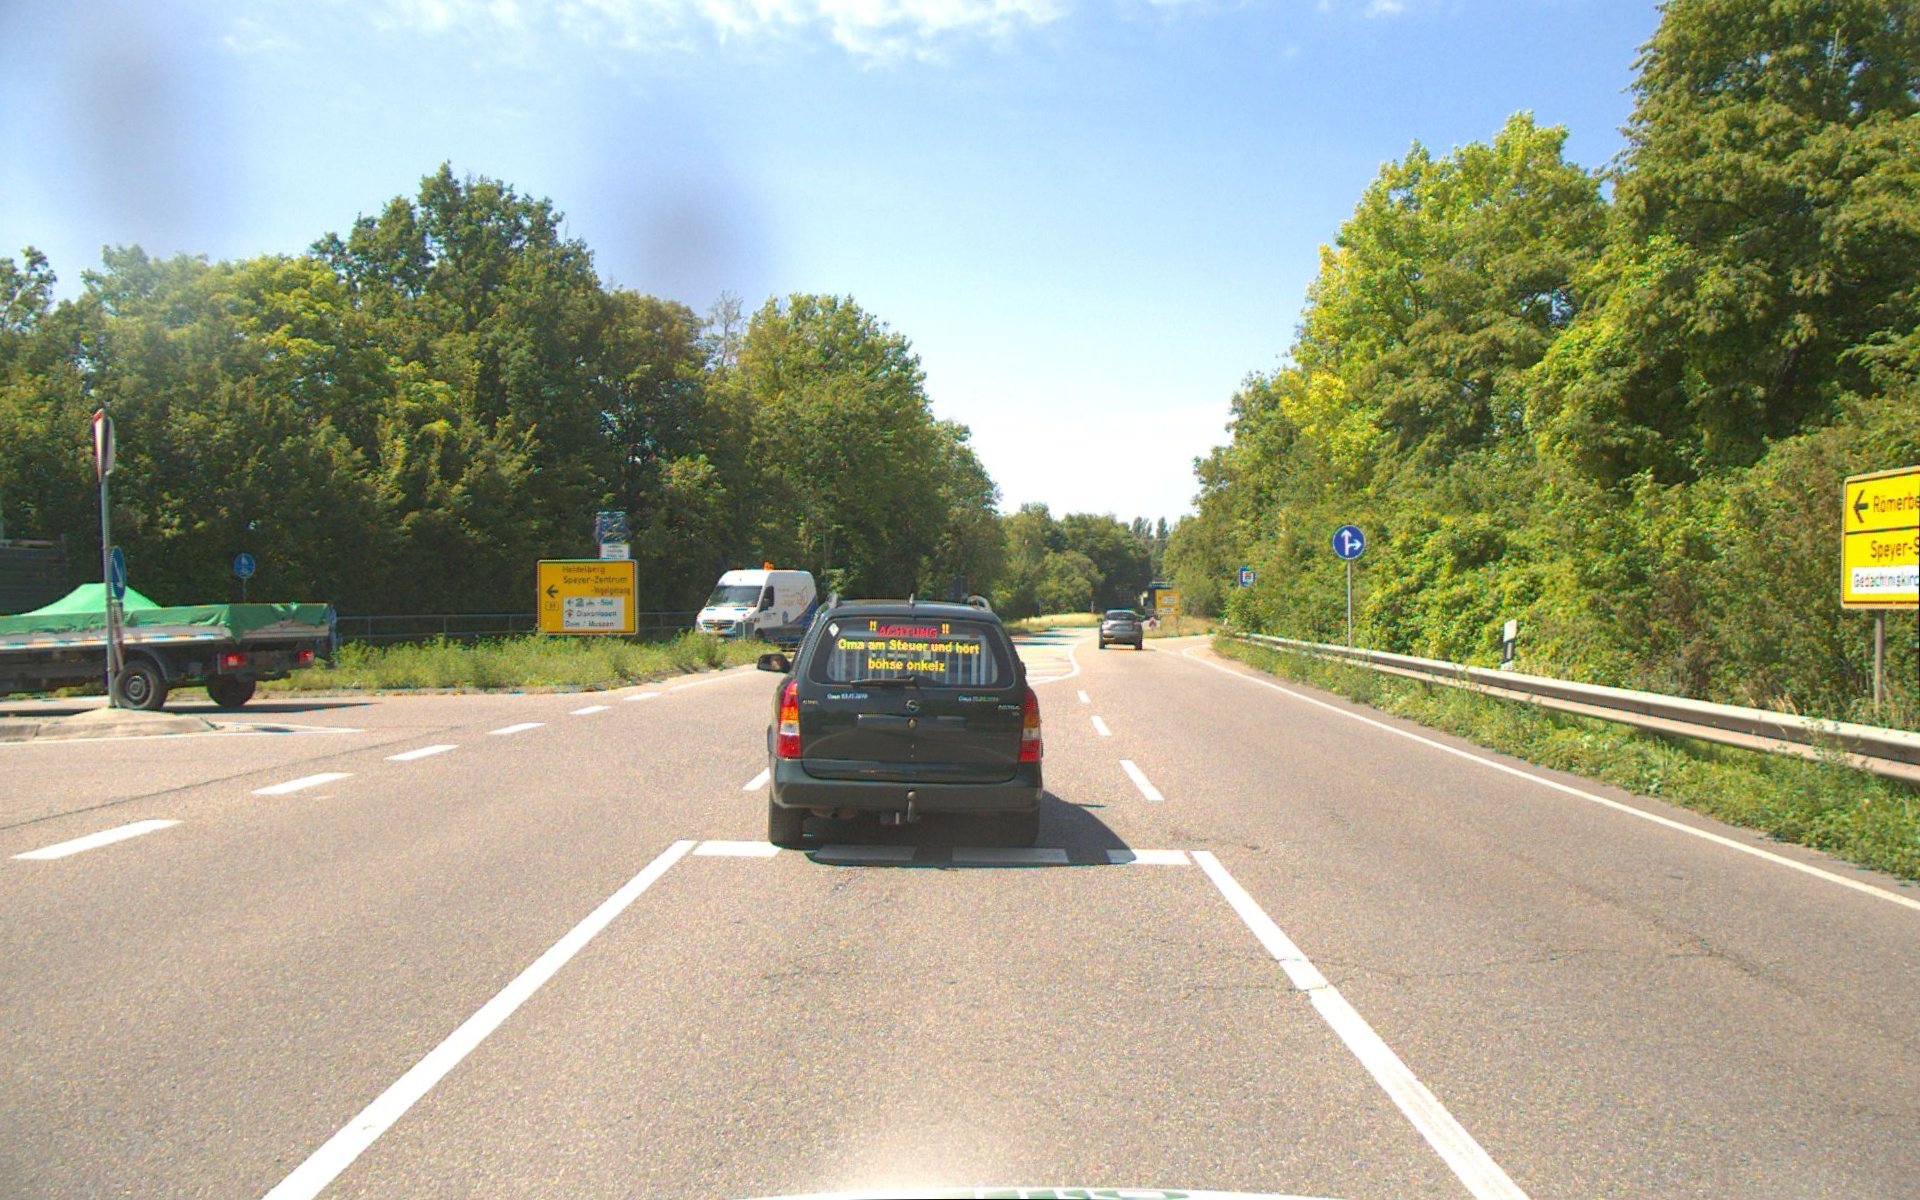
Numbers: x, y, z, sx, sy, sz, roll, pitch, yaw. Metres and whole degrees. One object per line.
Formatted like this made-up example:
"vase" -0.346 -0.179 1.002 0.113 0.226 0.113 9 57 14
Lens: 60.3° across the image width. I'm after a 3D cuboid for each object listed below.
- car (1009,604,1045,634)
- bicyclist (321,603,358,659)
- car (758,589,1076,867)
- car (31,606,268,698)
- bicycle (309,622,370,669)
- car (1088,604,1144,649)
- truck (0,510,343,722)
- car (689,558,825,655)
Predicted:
"car" 7.464 2.111 185.066 1.970 3.282 4.766 0 0 -27
"bicyclist" -15.615 0.767 41.606 0.675 1.387 0.607 0 0 34
"car" -0.455 0.686 10.920 1.688 1.482 3.791 0 1 -8
"car" -16.179 0.981 33.169 1.644 1.691 3.984 0 0 36
"bicycle" -15.606 1.137 41.620 0.427 1.133 1.478 -1 0 33
"car" 6.317 1.061 67.218 1.806 1.714 3.999 0 1 -1
"truck" -11.977 0.278 22.648 6.476 2.610 2.147 -2 -1 13
"car" -6.382 0.209 52.889 2.061 2.900 6.015 0 0 17
